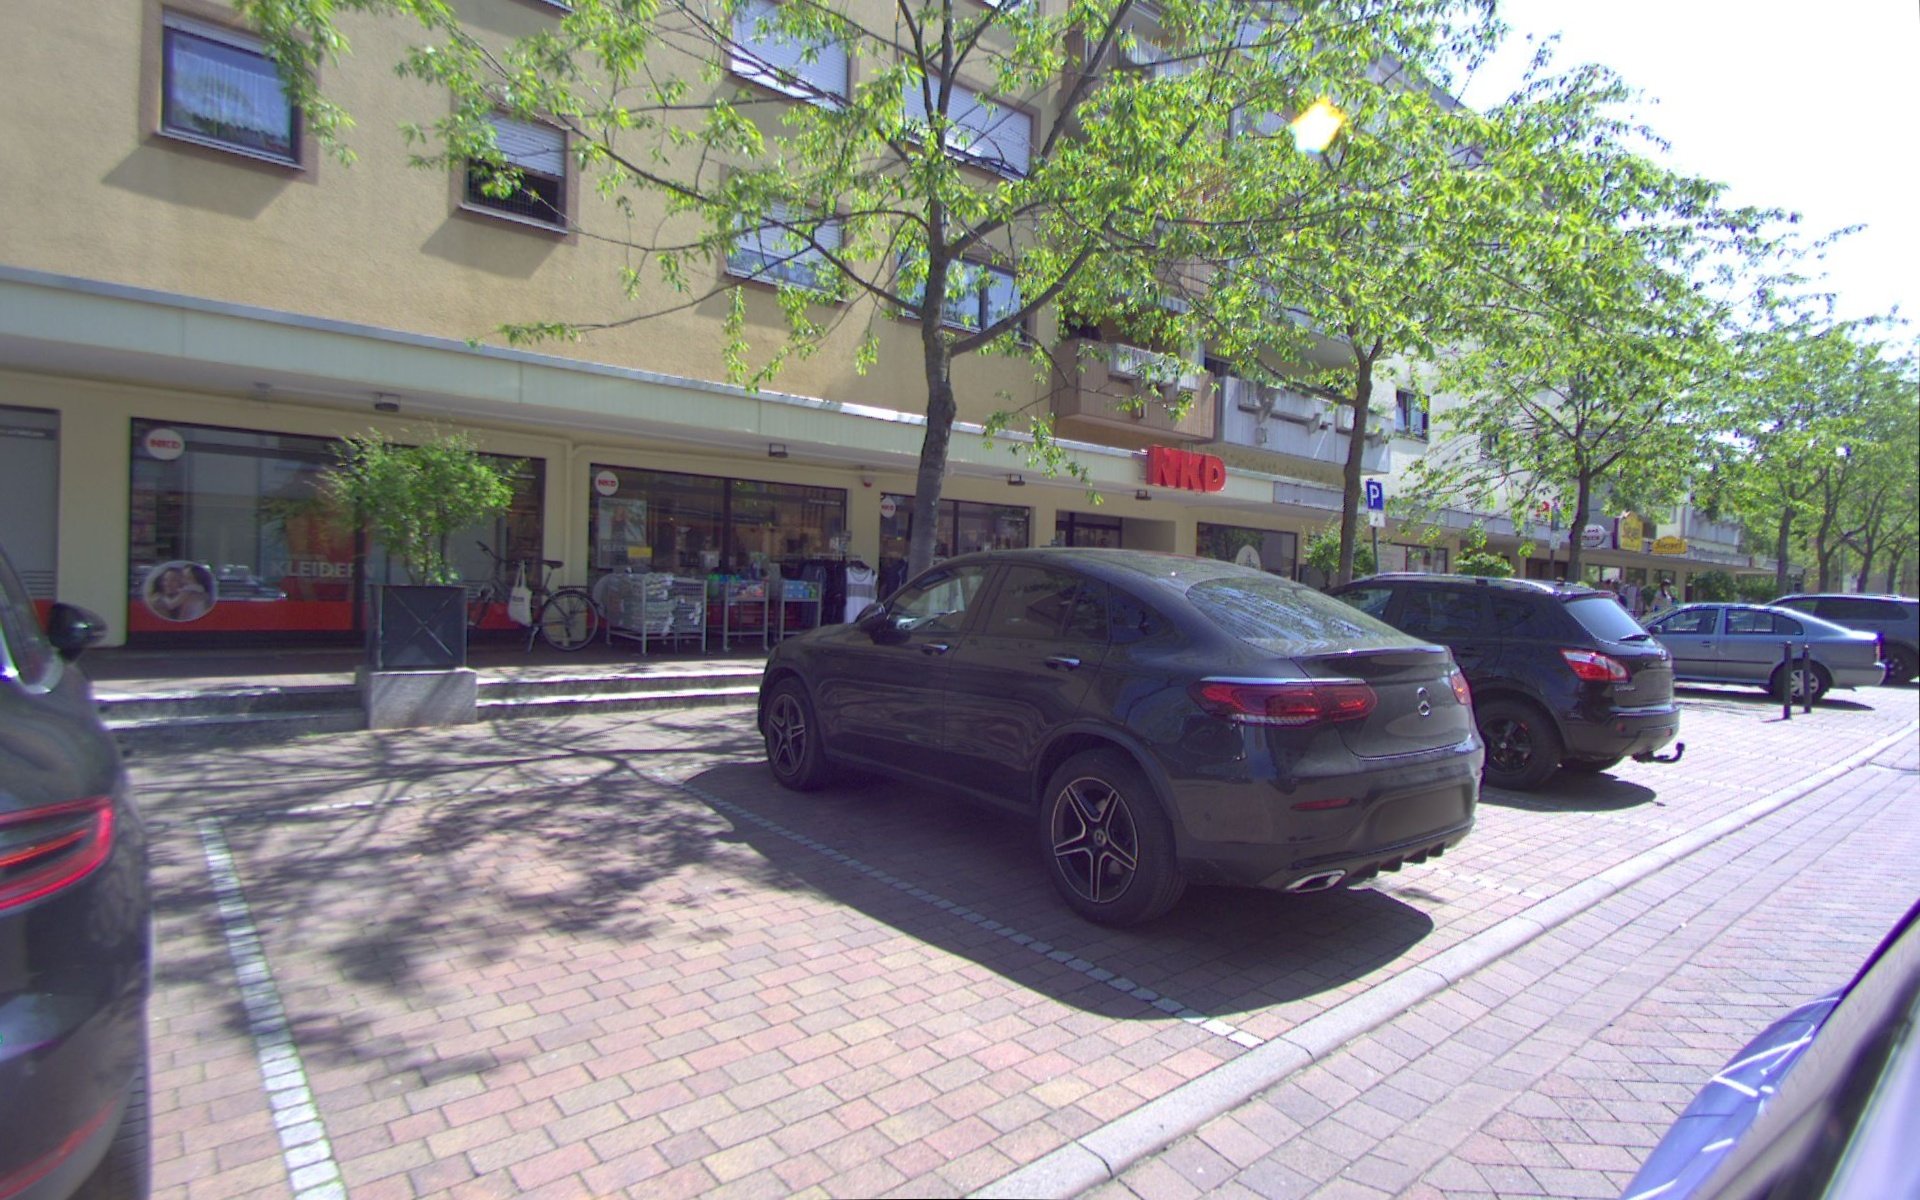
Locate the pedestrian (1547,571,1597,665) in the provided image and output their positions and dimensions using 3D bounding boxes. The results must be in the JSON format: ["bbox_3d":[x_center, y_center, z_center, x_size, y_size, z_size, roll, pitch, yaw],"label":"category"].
[{"bbox_3d":[11.952,0.333,19.785,0.622,1.795,0.684,1,0,12],"label":"pedestrian"}]

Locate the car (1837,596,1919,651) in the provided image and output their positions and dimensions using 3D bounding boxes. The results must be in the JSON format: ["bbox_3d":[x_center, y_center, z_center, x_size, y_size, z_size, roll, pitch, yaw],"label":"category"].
[{"bbox_3d":[29.020,0.732,30.500,1.604,1.536,3.652,1,2,-39],"label":"car"}]

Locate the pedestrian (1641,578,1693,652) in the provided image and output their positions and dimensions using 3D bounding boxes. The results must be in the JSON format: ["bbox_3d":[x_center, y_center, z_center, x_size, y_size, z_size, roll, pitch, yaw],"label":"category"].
[{"bbox_3d":[17.594,0.353,25.195,0.853,1.803,0.760,1,1,-33],"label":"pedestrian"}]

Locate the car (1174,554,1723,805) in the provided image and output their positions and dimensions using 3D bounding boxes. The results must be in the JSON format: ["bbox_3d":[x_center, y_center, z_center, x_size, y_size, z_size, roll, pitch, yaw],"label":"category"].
[{"bbox_3d":[4.051,0.474,8.998,1.651,1.631,4.038,0,3,-39],"label":"car"}]

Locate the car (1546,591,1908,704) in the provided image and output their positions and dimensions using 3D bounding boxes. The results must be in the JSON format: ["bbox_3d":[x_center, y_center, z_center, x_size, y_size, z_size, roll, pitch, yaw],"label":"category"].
[{"bbox_3d":[11.952,0.654,16.225,4.350,1.481,1.871,2,1,30],"label":"car"}]

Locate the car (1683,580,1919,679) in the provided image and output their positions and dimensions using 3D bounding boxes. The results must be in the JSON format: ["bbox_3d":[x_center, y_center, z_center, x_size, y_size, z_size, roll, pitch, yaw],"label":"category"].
[{"bbox_3d":[16.908,0.531,19.740,1.726,1.638,4.252,1,2,-41],"label":"car"}]

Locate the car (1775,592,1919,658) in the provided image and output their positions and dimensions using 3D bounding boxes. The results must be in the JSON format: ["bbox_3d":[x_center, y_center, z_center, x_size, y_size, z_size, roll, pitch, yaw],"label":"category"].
[{"bbox_3d":[25.142,0.684,27.318,1.774,1.562,4.586,1,2,-39],"label":"car"}]

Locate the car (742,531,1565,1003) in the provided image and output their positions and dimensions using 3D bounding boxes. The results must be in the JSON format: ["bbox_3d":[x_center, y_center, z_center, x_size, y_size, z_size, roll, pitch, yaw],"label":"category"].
[{"bbox_3d":[0.600,0.468,5.788,1.816,1.608,4.522,1,2,-38],"label":"car"}]

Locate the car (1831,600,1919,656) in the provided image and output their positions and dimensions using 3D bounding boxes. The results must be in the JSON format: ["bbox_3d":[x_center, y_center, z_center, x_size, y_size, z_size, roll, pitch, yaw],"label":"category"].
[{"bbox_3d":[27.313,0.835,28.617,1.585,1.449,3.801,1,2,-39],"label":"car"}]

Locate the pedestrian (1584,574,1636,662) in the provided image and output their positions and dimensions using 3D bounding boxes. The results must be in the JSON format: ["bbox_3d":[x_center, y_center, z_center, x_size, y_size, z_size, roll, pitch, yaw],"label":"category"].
[{"bbox_3d":[13.178,0.358,20.543,0.635,1.752,0.617,0,0,-6],"label":"pedestrian"}]

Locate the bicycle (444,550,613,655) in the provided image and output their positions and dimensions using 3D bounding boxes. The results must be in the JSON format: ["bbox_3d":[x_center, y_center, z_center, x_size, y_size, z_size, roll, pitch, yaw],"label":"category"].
[{"bbox_3d":[-4.922,0.019,11.616,1.742,1.138,0.413,0,0,-39],"label":"bicycle"}]

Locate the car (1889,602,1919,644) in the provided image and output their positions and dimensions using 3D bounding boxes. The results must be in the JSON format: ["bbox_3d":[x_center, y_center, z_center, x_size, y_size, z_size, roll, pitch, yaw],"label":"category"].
[{"bbox_3d":[34.749,0.874,35.200,1.434,1.407,3.401,1,2,-39],"label":"car"}]

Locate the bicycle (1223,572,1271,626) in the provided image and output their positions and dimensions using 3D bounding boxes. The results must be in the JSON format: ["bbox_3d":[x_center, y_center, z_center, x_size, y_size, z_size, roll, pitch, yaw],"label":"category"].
[{"bbox_3d":[5.890,-0.021,20.728,1.292,1.081,0.360,0,0,-44],"label":"bicycle"}]

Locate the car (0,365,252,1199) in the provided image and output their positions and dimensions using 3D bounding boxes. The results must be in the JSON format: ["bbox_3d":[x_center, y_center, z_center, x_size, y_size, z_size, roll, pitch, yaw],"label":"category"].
[{"bbox_3d":[-3.247,0.441,2.497,1.966,1.701,4.286,1,2,-42],"label":"car"}]

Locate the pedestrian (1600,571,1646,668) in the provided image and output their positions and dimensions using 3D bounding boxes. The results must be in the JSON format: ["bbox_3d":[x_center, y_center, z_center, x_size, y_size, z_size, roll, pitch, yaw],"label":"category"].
[{"bbox_3d":[12.769,0.358,19.495,0.599,1.819,0.623,1,0,22],"label":"pedestrian"}]
